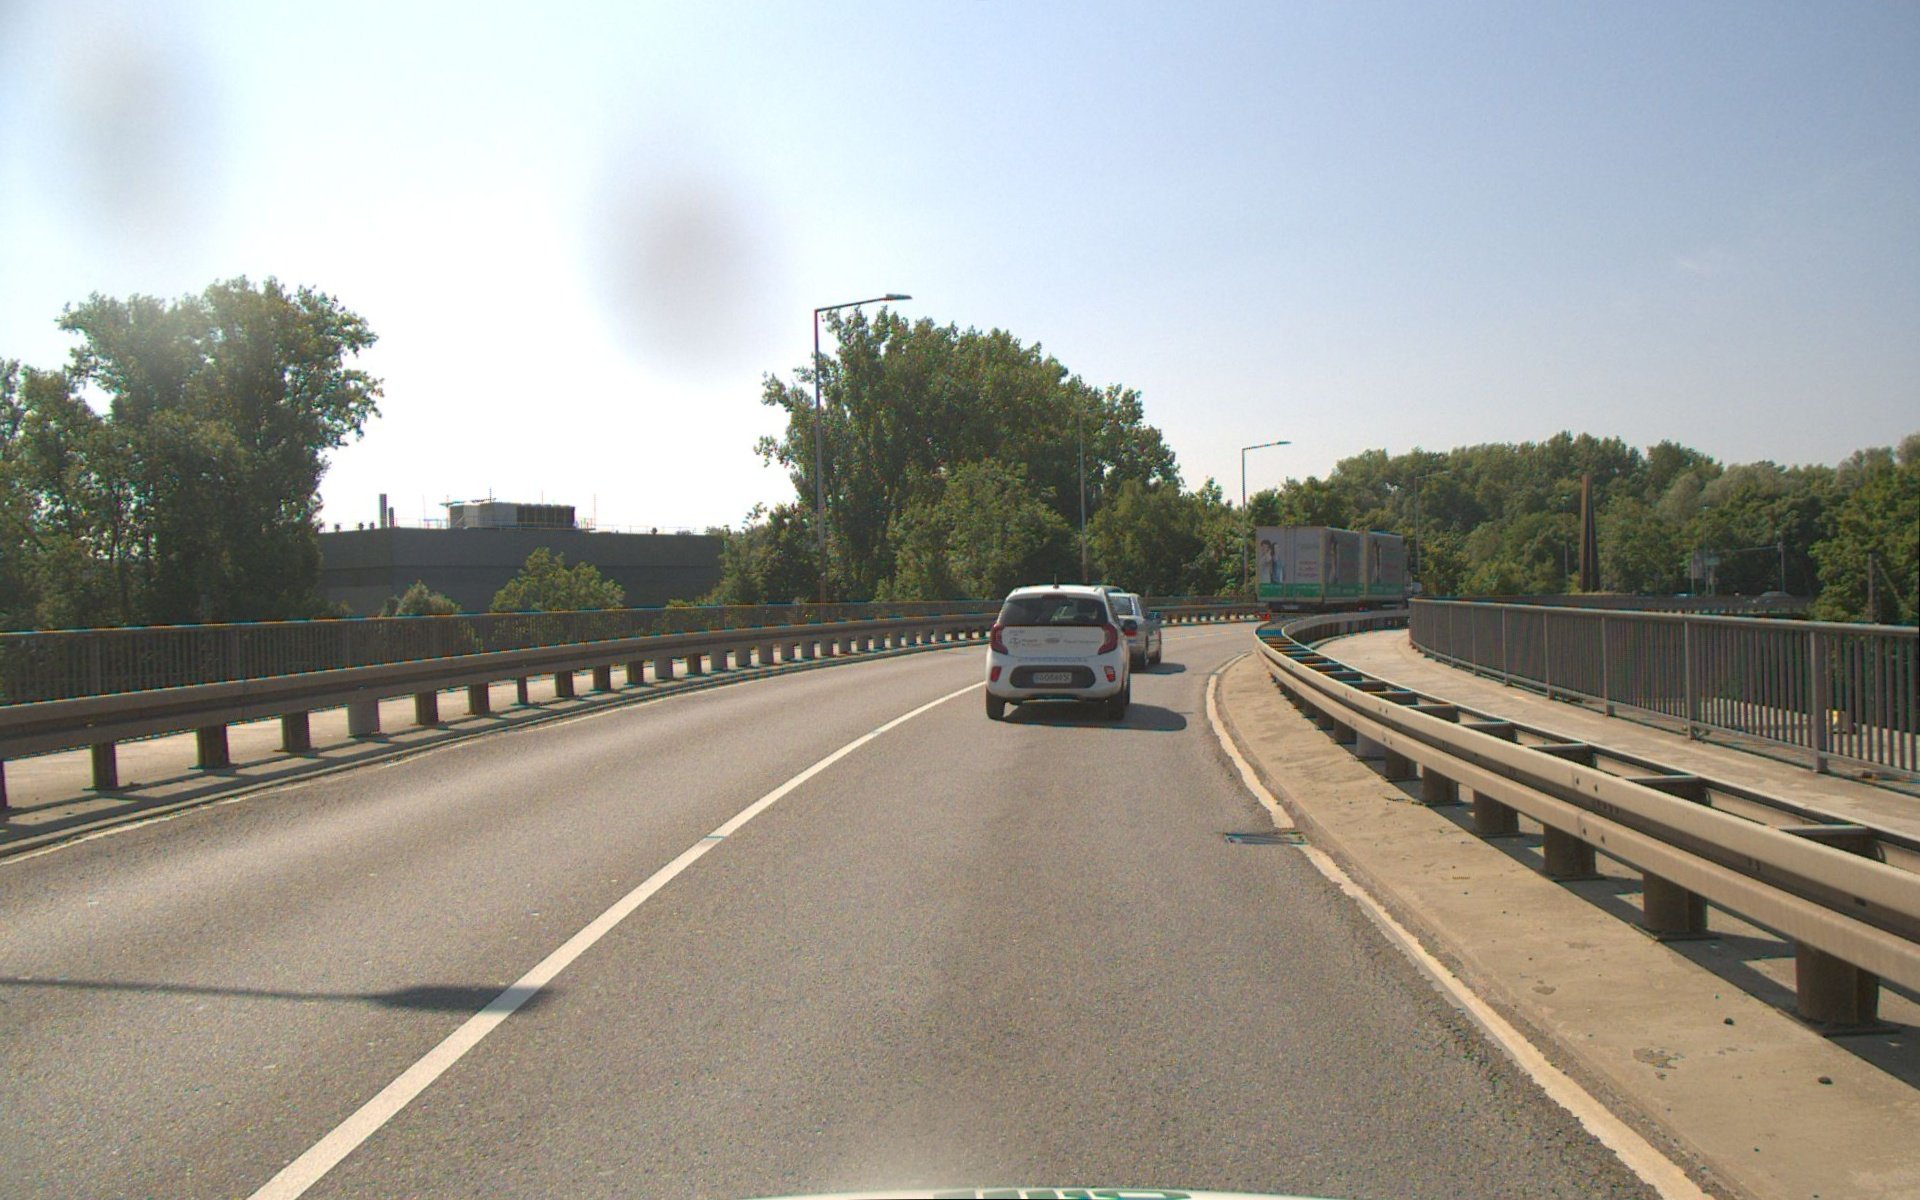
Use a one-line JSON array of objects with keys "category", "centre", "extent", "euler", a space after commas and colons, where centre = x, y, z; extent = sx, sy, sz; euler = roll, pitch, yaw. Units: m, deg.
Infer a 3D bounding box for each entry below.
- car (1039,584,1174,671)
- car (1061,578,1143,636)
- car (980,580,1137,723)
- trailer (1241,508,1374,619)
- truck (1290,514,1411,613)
[{"category": "car", "centre": [2.899, 0.457, 31.733], "extent": [1.897, 1.512, 4.904], "euler": [1, 1, 13]}, {"category": "car", "centre": [4.402, 0.192, 50.883], "extent": [1.695, 1.653, 4.307], "euler": [0, 1, 16]}, {"category": "car", "centre": [1.293, 0.552, 20.157], "extent": [1.665, 1.520, 4.003], "euler": [1, 0, 7]}, {"category": "trailer", "centre": [13.125, -1.393, 61.944], "extent": [3.160, 3.823, 7.821], "euler": [2, 2, 24]}, {"category": "truck", "centre": [16.433, -1.565, 69.160], "extent": [3.196, 3.823, 8.365], "euler": [2, 2, 25]}]
